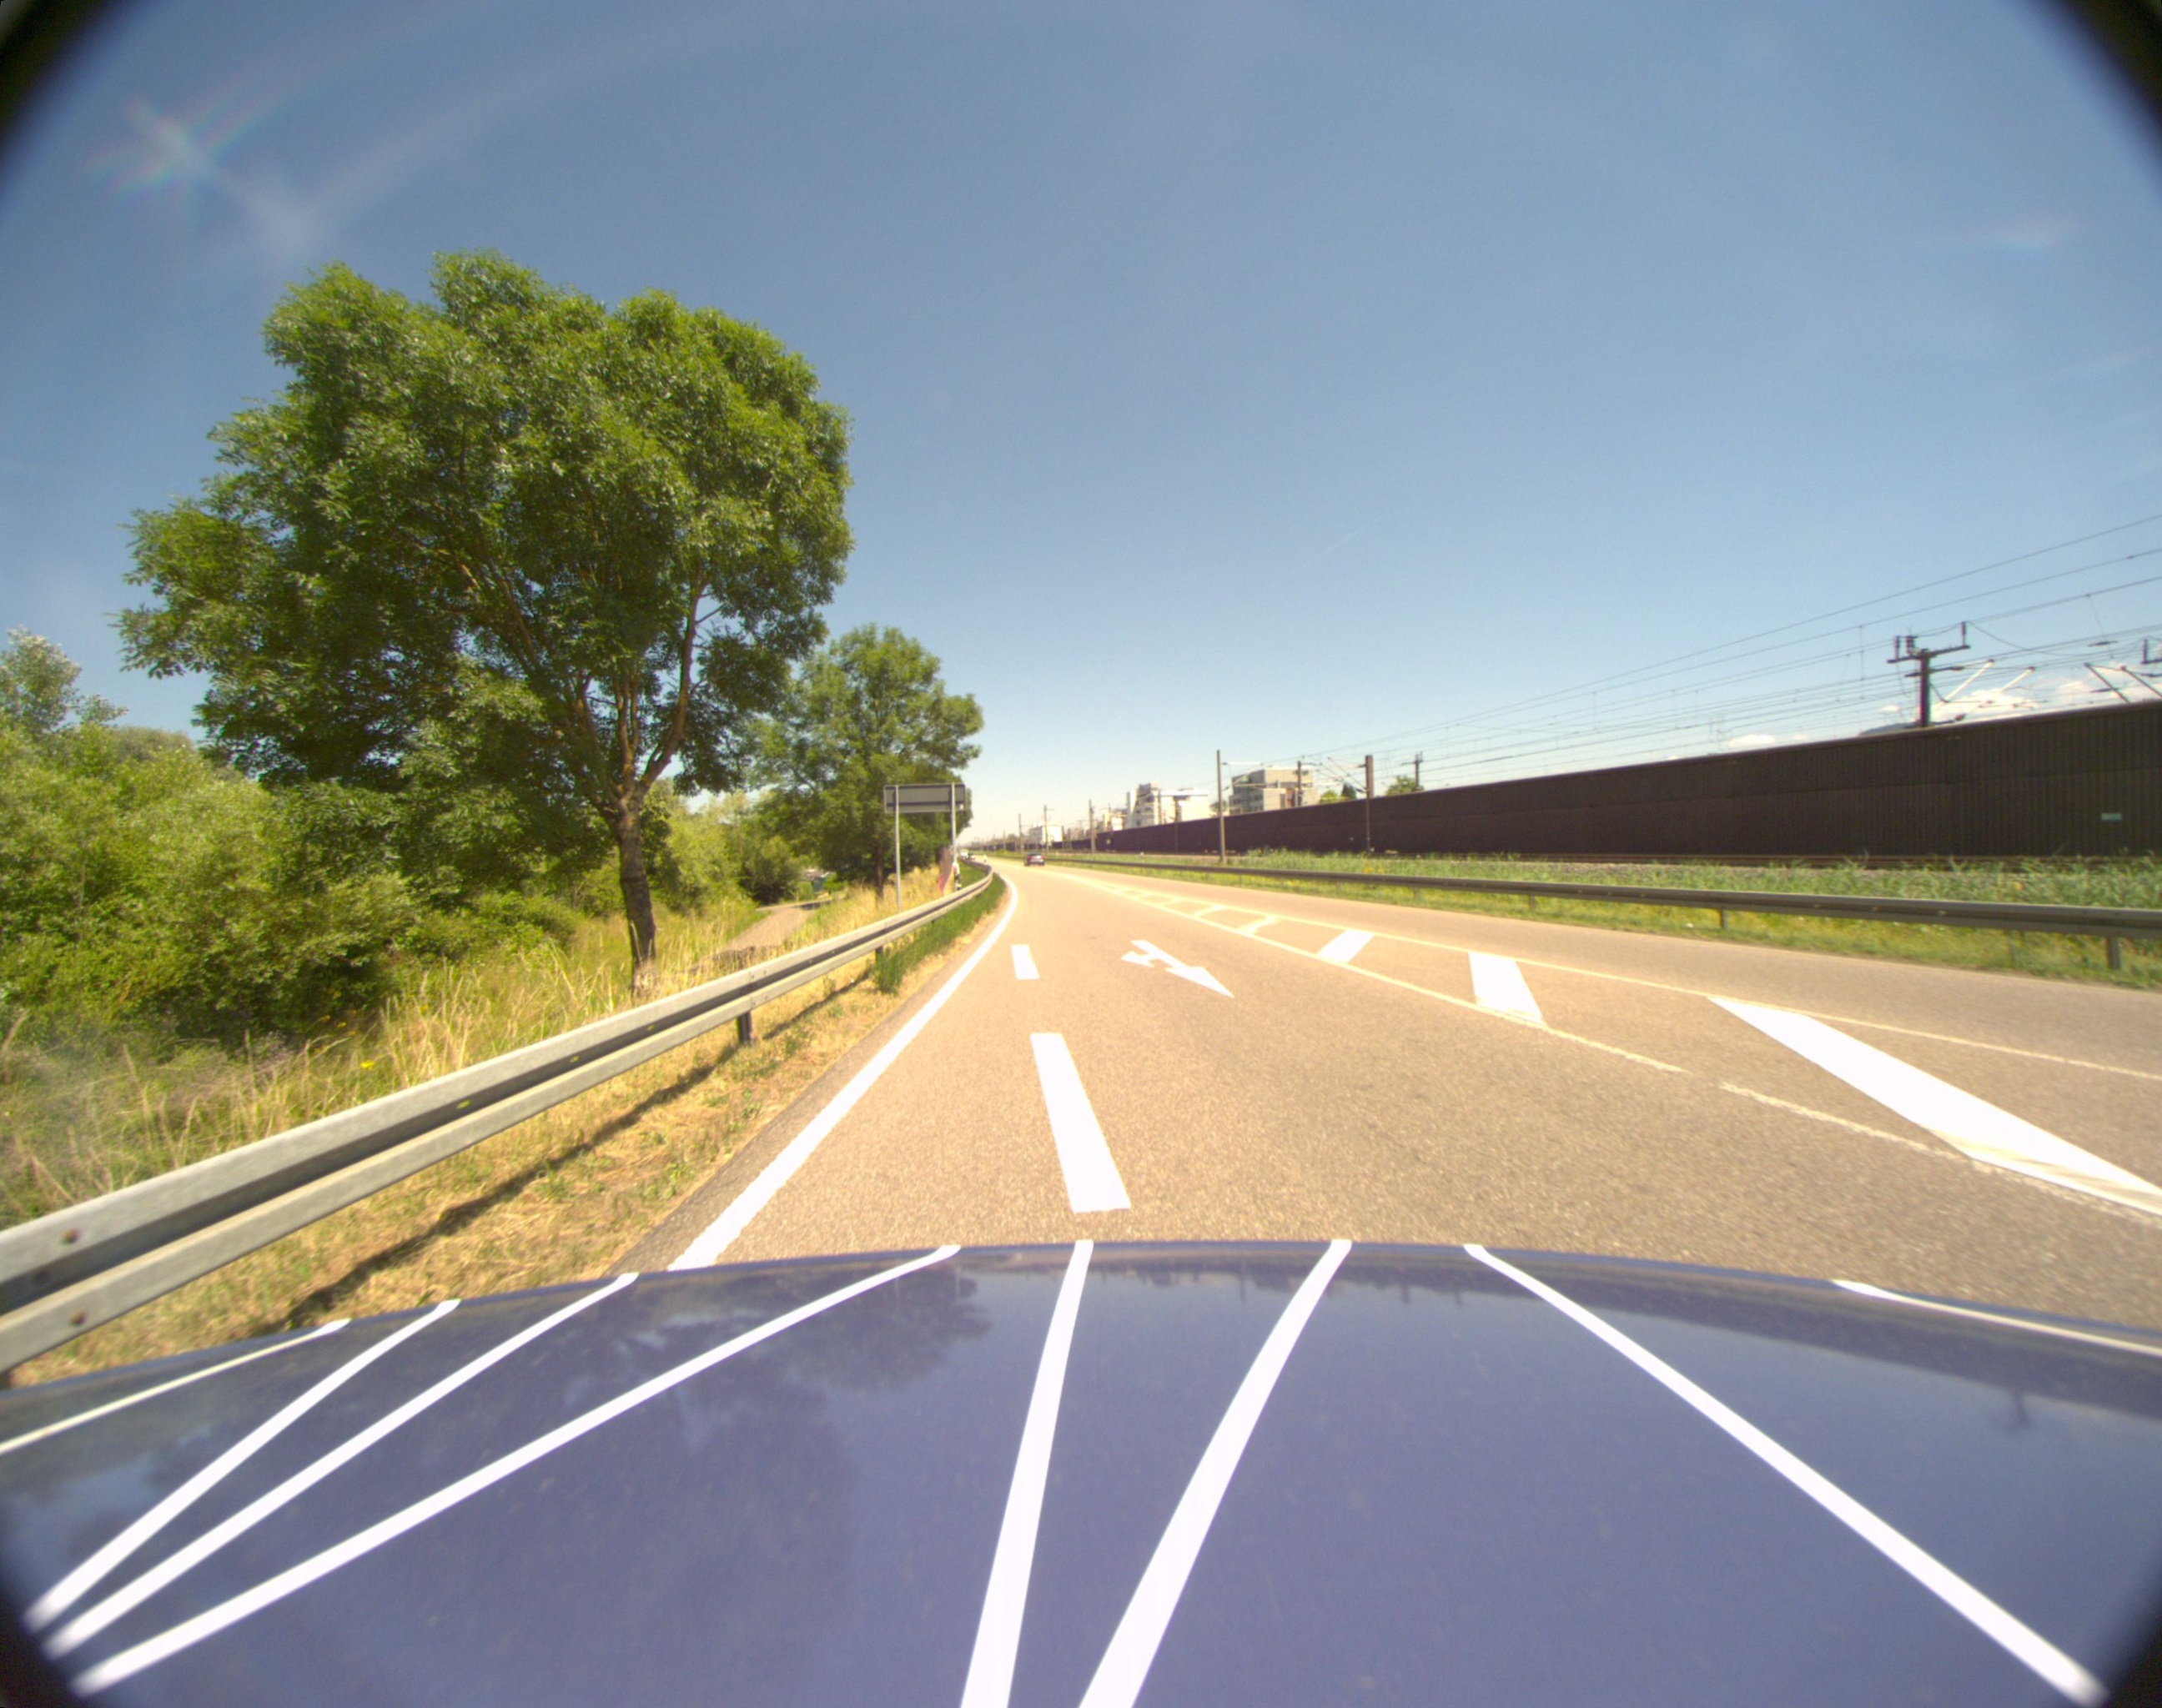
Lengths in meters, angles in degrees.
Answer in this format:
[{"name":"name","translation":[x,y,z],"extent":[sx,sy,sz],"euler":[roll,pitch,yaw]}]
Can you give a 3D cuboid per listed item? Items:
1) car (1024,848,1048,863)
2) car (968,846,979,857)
[{"name":"car","translation":[-4.786,0.143,80.753],"extent":[1.871,1.476,4.882],"euler":[-1,1,-11]},{"name":"car","translation":[-21.806,-0.530,154.028],"extent":[2.000,2.002,3.997],"euler":[-1,1,-7]}]
